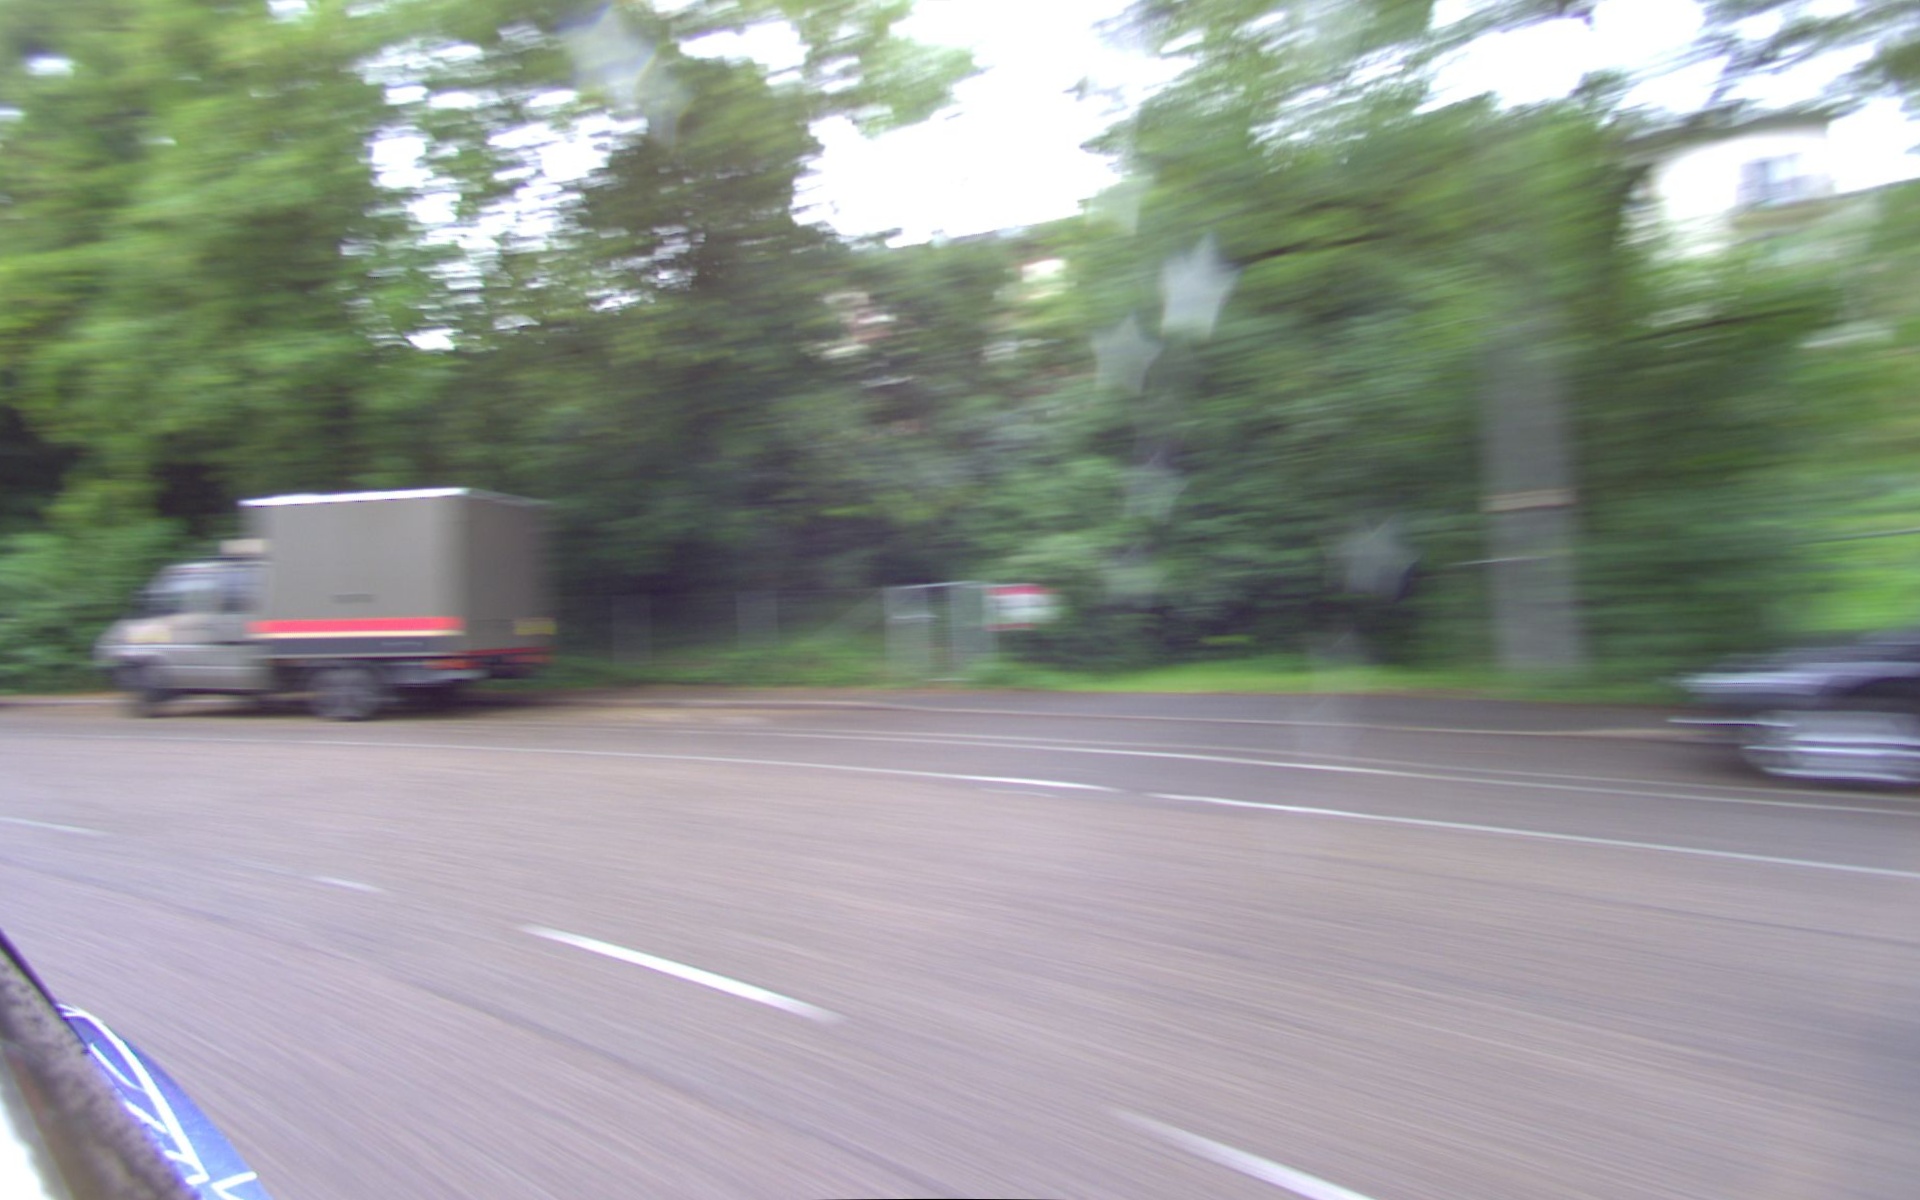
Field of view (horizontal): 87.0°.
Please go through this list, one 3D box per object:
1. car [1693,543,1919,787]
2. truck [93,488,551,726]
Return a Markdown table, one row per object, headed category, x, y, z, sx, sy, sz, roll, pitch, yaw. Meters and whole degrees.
| category | x | y | z | sx | sy | sz | roll | pitch | yaw |
| --- | --- | --- | --- | --- | --- | --- | --- | --- | --- |
| car | 7.271 | 0.335 | 6.060 | 1.971 | 1.474 | 4.374 | -2 | 0 | -45 |
| truck | -9.267 | 0.182 | 14.872 | 5.888 | 3.083 | 2.222 | -1 | -2 | 13 |
